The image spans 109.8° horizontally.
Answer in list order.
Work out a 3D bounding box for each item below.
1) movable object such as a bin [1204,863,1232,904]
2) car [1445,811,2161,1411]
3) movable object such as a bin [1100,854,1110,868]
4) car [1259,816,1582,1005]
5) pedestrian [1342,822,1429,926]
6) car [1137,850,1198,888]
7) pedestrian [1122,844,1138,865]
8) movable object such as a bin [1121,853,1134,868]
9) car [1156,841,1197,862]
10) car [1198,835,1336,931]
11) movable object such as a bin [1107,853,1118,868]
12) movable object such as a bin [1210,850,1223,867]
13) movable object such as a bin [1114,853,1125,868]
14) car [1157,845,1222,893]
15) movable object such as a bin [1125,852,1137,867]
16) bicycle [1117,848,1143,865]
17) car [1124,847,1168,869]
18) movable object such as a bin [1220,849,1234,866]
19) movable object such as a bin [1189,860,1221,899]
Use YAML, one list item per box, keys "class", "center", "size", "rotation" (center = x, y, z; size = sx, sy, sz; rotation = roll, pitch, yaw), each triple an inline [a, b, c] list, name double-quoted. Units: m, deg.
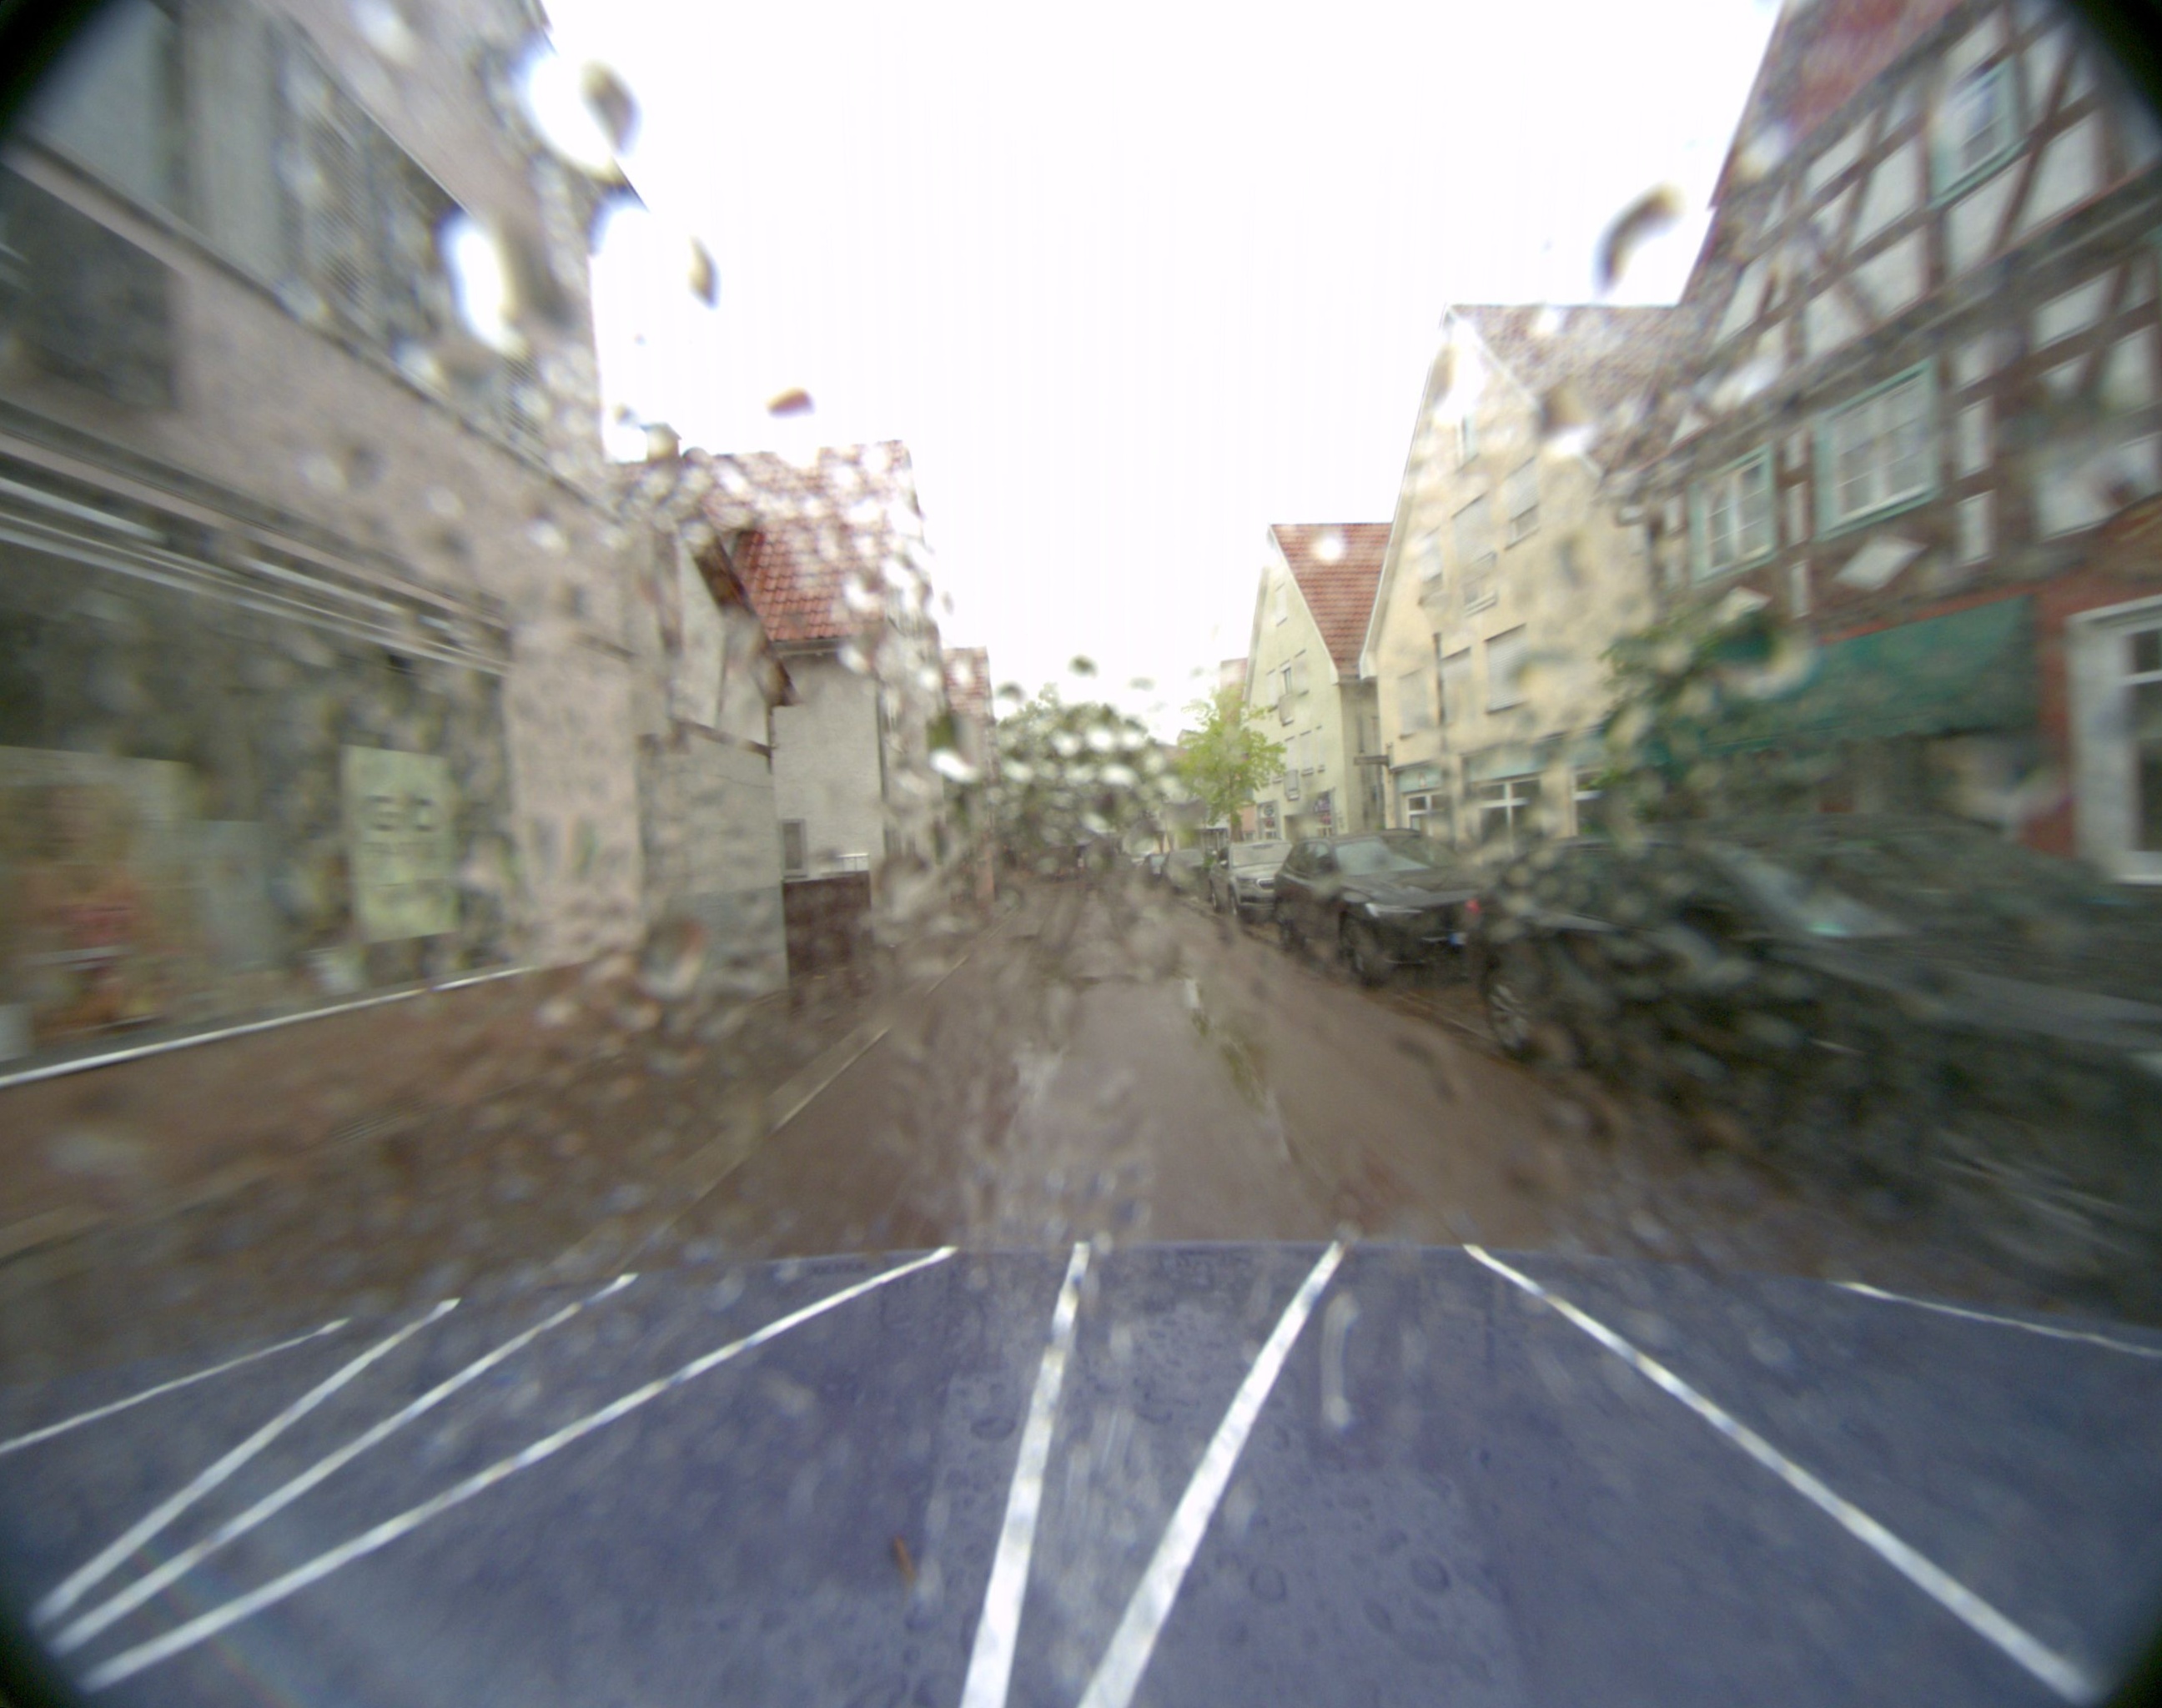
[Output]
- class: "movable object such as a bin"
  center: [3.717, 0.800, 20.646]
  size: [0.553, 1.040, 0.534]
  rotation: [-4, 2, -3]
- class: "car"
  center: [3.728, 0.673, 3.599]
  size: [1.784, 1.529, 4.290]
  rotation: [-6, 0, -1]
- class: "movable object such as a bin"
  center: [1.894, 0.547, 59.919]
  size: [0.538, 1.077, 0.729]
  rotation: [-1, 2, 31]
- class: "car"
  center: [3.765, 0.552, 9.527]
  size: [1.829, 1.656, 4.642]
  rotation: [-5, 0, -1]
- class: "pedestrian"
  center: [5.217, 0.341, 12.998]
  size: [1.174, 1.672, 0.792]
  rotation: [-3, 3, 32]
- class: "car"
  center: [3.766, 0.633, 33.903]
  size: [1.867, 1.433, 4.618]
  rotation: [-4, 0, -4]
- class: "pedestrian"
  center: [4.068, 0.039, 63.528]
  size: [0.910, 1.689, 0.863]
  rotation: [0, 4, 44]
- class: "movable object such as a bin"
  center: [3.581, 0.485, 58.674]
  size: [0.726, 1.077, 0.605]
  rotation: [-3, 3, 24]
- class: "car"
  center: [8.326, -0.198, 66.190]
  size: [1.789, 1.460, 3.955]
  rotation: [-3, 2, 36]
- class: "car"
  center: [3.911, 0.498, 16.810]
  size: [1.829, 1.657, 4.641]
  rotation: [-4, 2, 0]
- class: "movable object such as a bin"
  center: [2.463, 0.524, 59.432]
  size: [0.538, 1.124, 0.729]
  rotation: [-1, 1, 31]
- class: "movable object such as a bin"
  center: [9.979, 0.334, 55.931]
  size: [0.700, 1.137, 0.720]
  rotation: [-3, 0, 32]
- class: "movable object such as a bin"
  center: [3.019, 0.510, 59.112]
  size: [0.538, 1.136, 0.729]
  rotation: [-1, 2, 31]
- class: "car"
  center: [3.971, 0.500, 28.407]
  size: [1.866, 1.515, 4.328]
  rotation: [-5, 0, 3]
- class: "movable object such as a bin"
  center: [3.903, 0.441, 59.272]
  size: [0.726, 1.087, 0.611]
  rotation: [-3, 3, 24]
- class: "bicycle"
  center: [4.111, 0.221, 63.545]
  size: [0.925, 1.343, 2.220]
  rotation: [0, 3, 43]
- class: "car"
  center: [5.306, 0.303, 61.834]
  size: [1.788, 1.547, 3.956]
  rotation: [-2, 2, 34]
- class: "movable object such as a bin"
  center: [10.693, 0.257, 55.536]
  size: [0.700, 1.115, 0.720]
  rotation: [-6, 1, 32]
- class: "movable object such as a bin"
  center: [3.739, 0.757, 22.965]
  size: [0.748, 1.077, 0.744]
  rotation: [-5, 2, -2]
